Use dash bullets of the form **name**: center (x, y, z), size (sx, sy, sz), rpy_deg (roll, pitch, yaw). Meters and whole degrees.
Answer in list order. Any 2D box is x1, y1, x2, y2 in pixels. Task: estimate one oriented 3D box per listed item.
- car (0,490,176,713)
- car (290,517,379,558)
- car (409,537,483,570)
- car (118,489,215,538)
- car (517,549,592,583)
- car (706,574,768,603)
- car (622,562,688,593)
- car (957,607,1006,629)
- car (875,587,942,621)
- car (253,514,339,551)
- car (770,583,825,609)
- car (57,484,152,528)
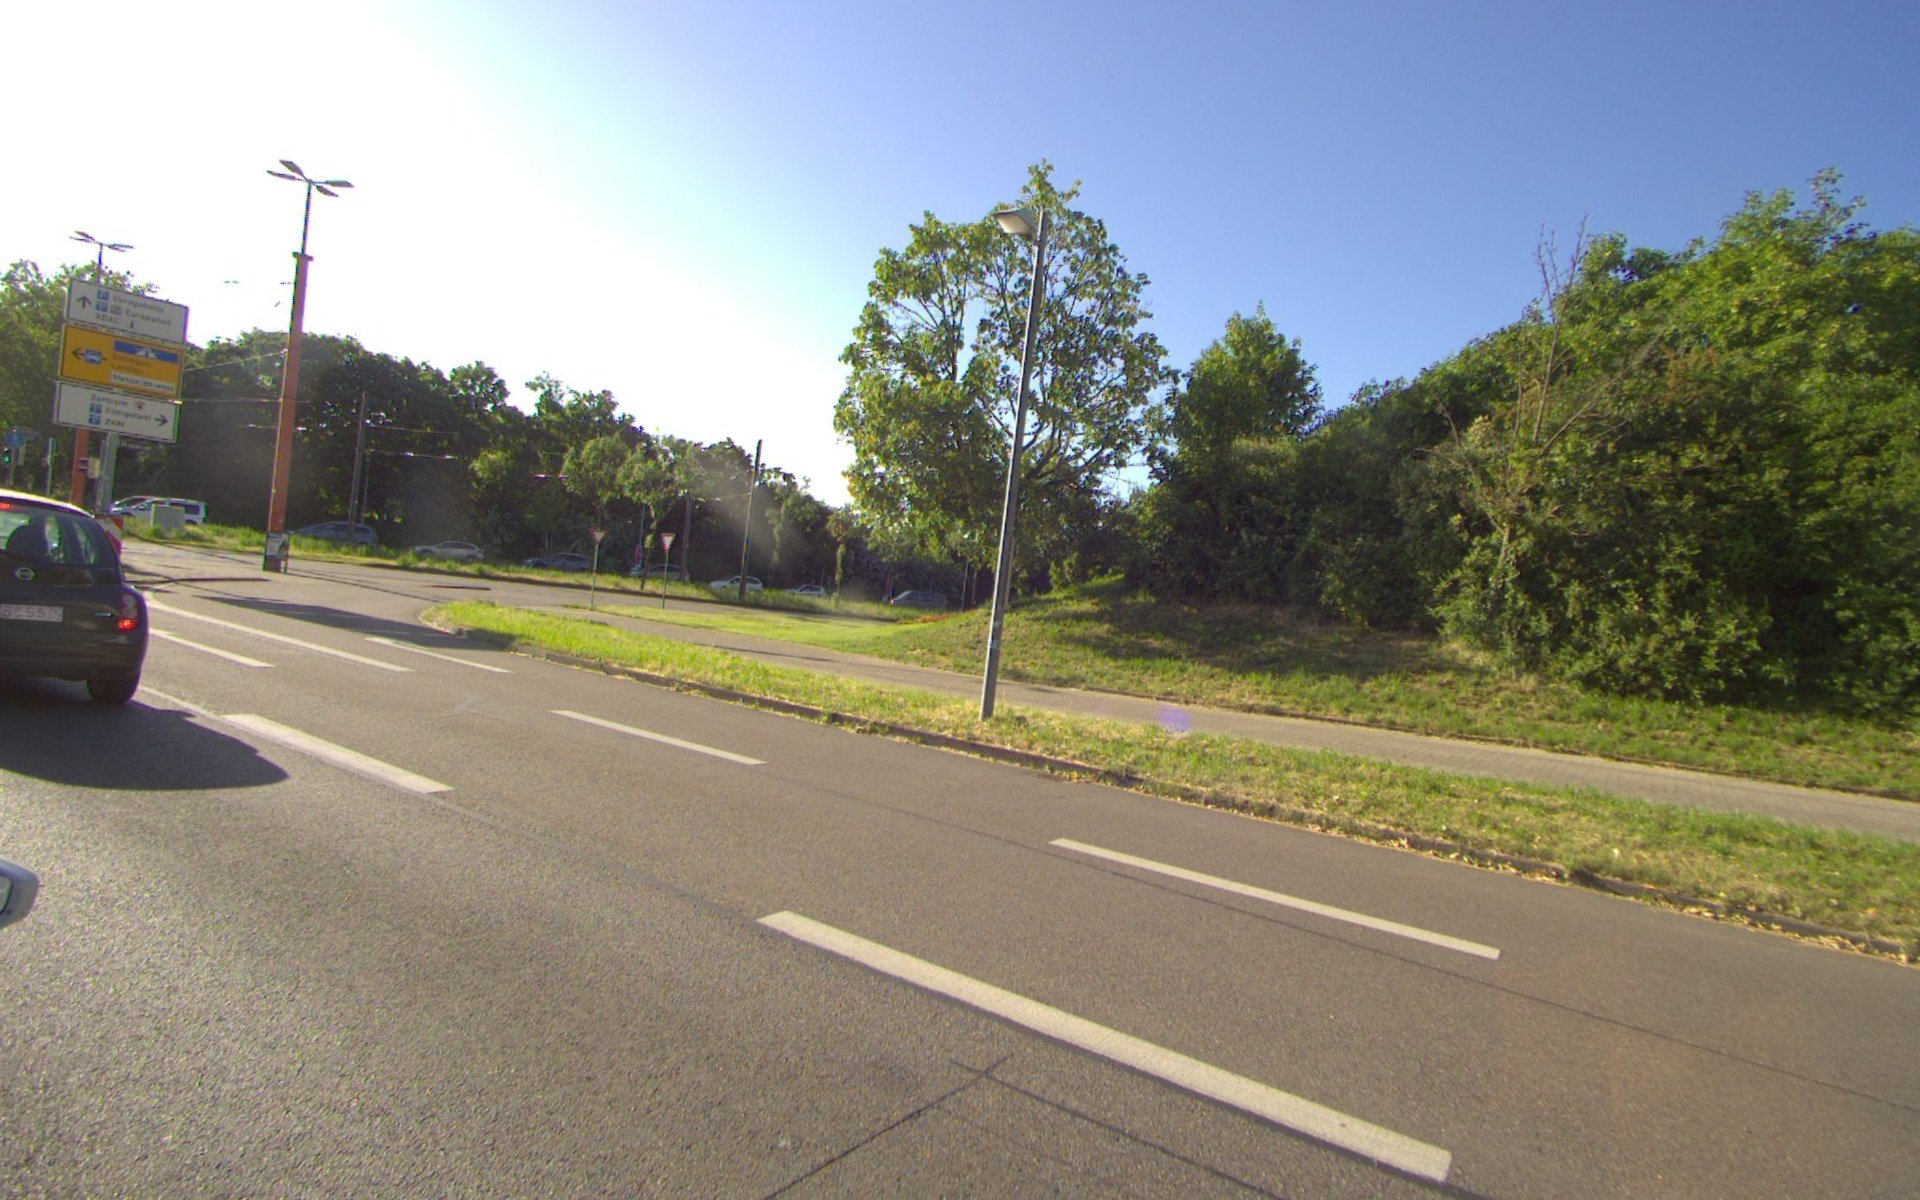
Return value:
- **car**: center (-7.969, -0.146, 7.895), size (3.555, 1.518, 1.656), rpy_deg (7, -1, 33)
- **car**: center (-36.056, -3.590, 58.113), size (4.151, 1.663, 1.746), rpy_deg (9, -2, -32)
- **car**: center (-32.579, -2.899, 63.784), size (3.936, 1.458, 1.674), rpy_deg (9, -2, -31)
- **car**: center (-42.703, -4.633, 54.261), size (3.810, 1.912, 1.748), rpy_deg (9, -2, -34)
- **car**: center (-25.935, -2.176, 64.426), size (4.092, 1.617, 1.813), rpy_deg (7, 0, -33)
- **car**: center (-15.685, -0.807, 70.739), size (3.789, 1.541, 1.682), rpy_deg (7, 0, -29)
- **car**: center (-21.652, -1.605, 71.416), size (4.087, 1.664, 1.839), rpy_deg (7, 0, -29)
- **car**: center (1.838, 1.516, 84.896), size (3.803, 1.278, 1.590), rpy_deg (9, -2, -32)
- **car**: center (-3.944, 0.334, 77.438), size (4.536, 2.038, 1.984), rpy_deg (7, 0, -30)
- **car**: center (-39.478, -3.980, 59.920), size (4.094, 1.528, 1.808), rpy_deg (9, -2, -32)
- **car**: center (-12.285, -0.318, 76.158), size (3.706, 1.491, 1.589), rpy_deg (7, 0, -29)
- **car**: center (-46.866, -5.121, 55.216), size (3.619, 1.674, 1.666), rpy_deg (9, -2, -33)
